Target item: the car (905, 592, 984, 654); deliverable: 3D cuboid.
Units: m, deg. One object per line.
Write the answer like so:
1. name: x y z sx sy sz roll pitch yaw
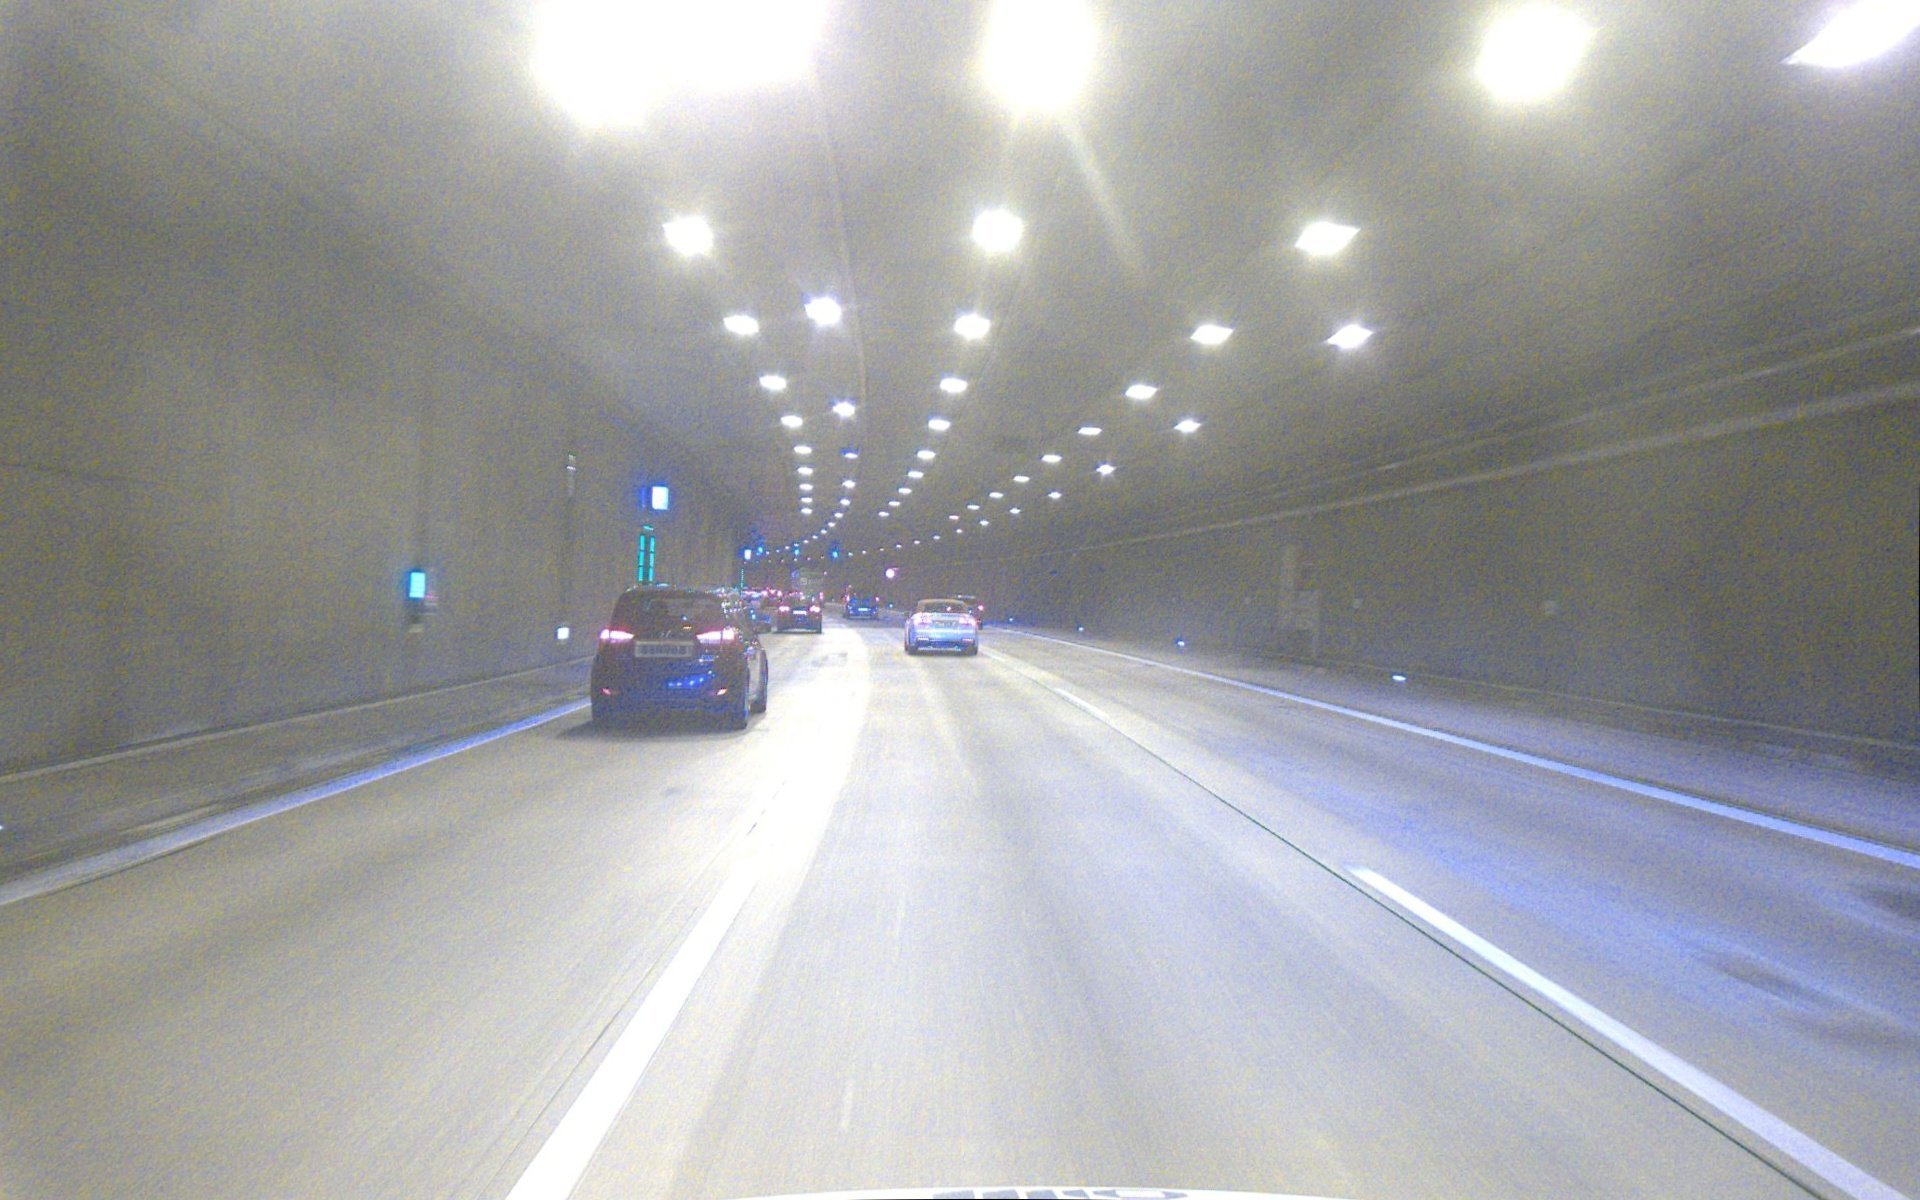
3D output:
1. car: -0.434 0.569 43.292 1.953 1.509 3.999 1 0 -2

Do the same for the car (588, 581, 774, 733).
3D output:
1. car: -3.217 0.610 19.708 1.750 1.626 3.799 0 0 -3

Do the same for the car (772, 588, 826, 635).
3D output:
1. car: -6.224 0.421 63.564 1.767 1.713 3.991 1 0 -10

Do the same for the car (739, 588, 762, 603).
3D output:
1. car: -21.858 -0.459 172.510 1.959 1.557 3.988 1 0 -12

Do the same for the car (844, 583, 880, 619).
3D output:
1. car: -5.570 0.041 94.128 1.953 2.006 3.998 0 0 -3

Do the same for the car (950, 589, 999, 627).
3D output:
1. car: 0.632 0.339 73.311 1.803 1.630 3.996 1 0 -5

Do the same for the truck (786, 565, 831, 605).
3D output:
1. truck: -13.072 -1.334 141.962 3.027 3.167 10.006 2 1 -10
